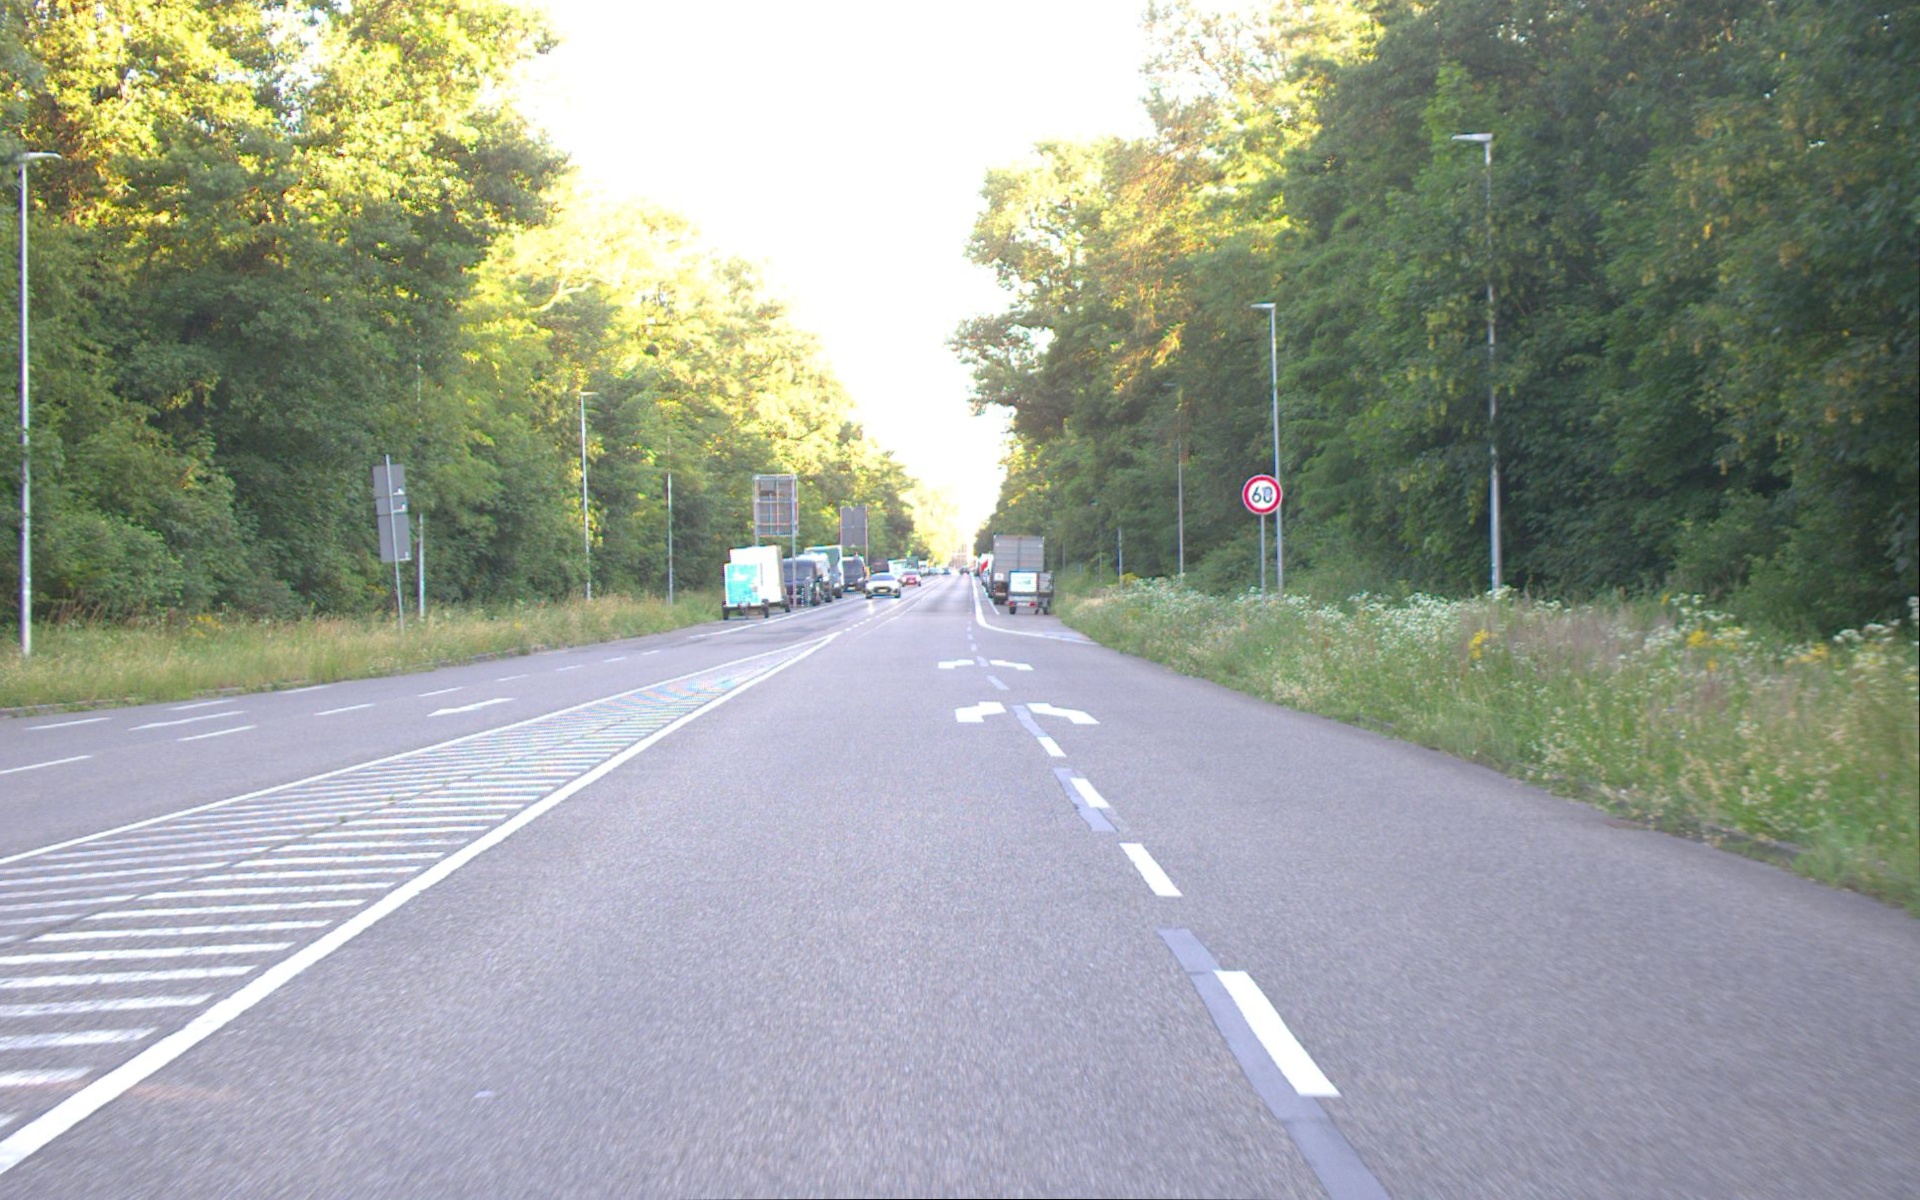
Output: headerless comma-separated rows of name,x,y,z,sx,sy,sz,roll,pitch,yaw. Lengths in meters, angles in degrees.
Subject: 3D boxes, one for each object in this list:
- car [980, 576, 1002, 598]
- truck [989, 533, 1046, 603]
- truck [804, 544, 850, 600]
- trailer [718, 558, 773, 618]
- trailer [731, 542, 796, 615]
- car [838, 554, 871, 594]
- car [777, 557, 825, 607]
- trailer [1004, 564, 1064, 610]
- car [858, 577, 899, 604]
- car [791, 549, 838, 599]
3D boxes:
car,2.096,-0.893,234.911,1.147,1.247,2.754,-12,2,-2
truck,2.758,-1.490,161.869,2.589,3.244,7.220,0,0,2
truck,-8.229,-1.744,213.841,2.504,3.317,6.842,-2,1,0
trailer,-8.077,-0.459,129.794,1.817,2.160,4.143,-2,1,-1
trailer,-8.265,-0.928,145.405,2.326,2.914,5.627,-3,0,0
car,-7.606,-1.876,248.484,2.186,2.779,5.334,-2,1,0
car,-7.886,-0.908,170.684,1.993,2.356,5.766,-3,0,0
trailer,2.792,-0.502,129.593,1.457,1.656,3.775,-1,0,13
car,-4.748,-0.569,200.832,2.063,1.430,4.465,-3,0,2
car,-7.942,-1.419,188.263,2.249,2.638,5.721,-2,1,0
